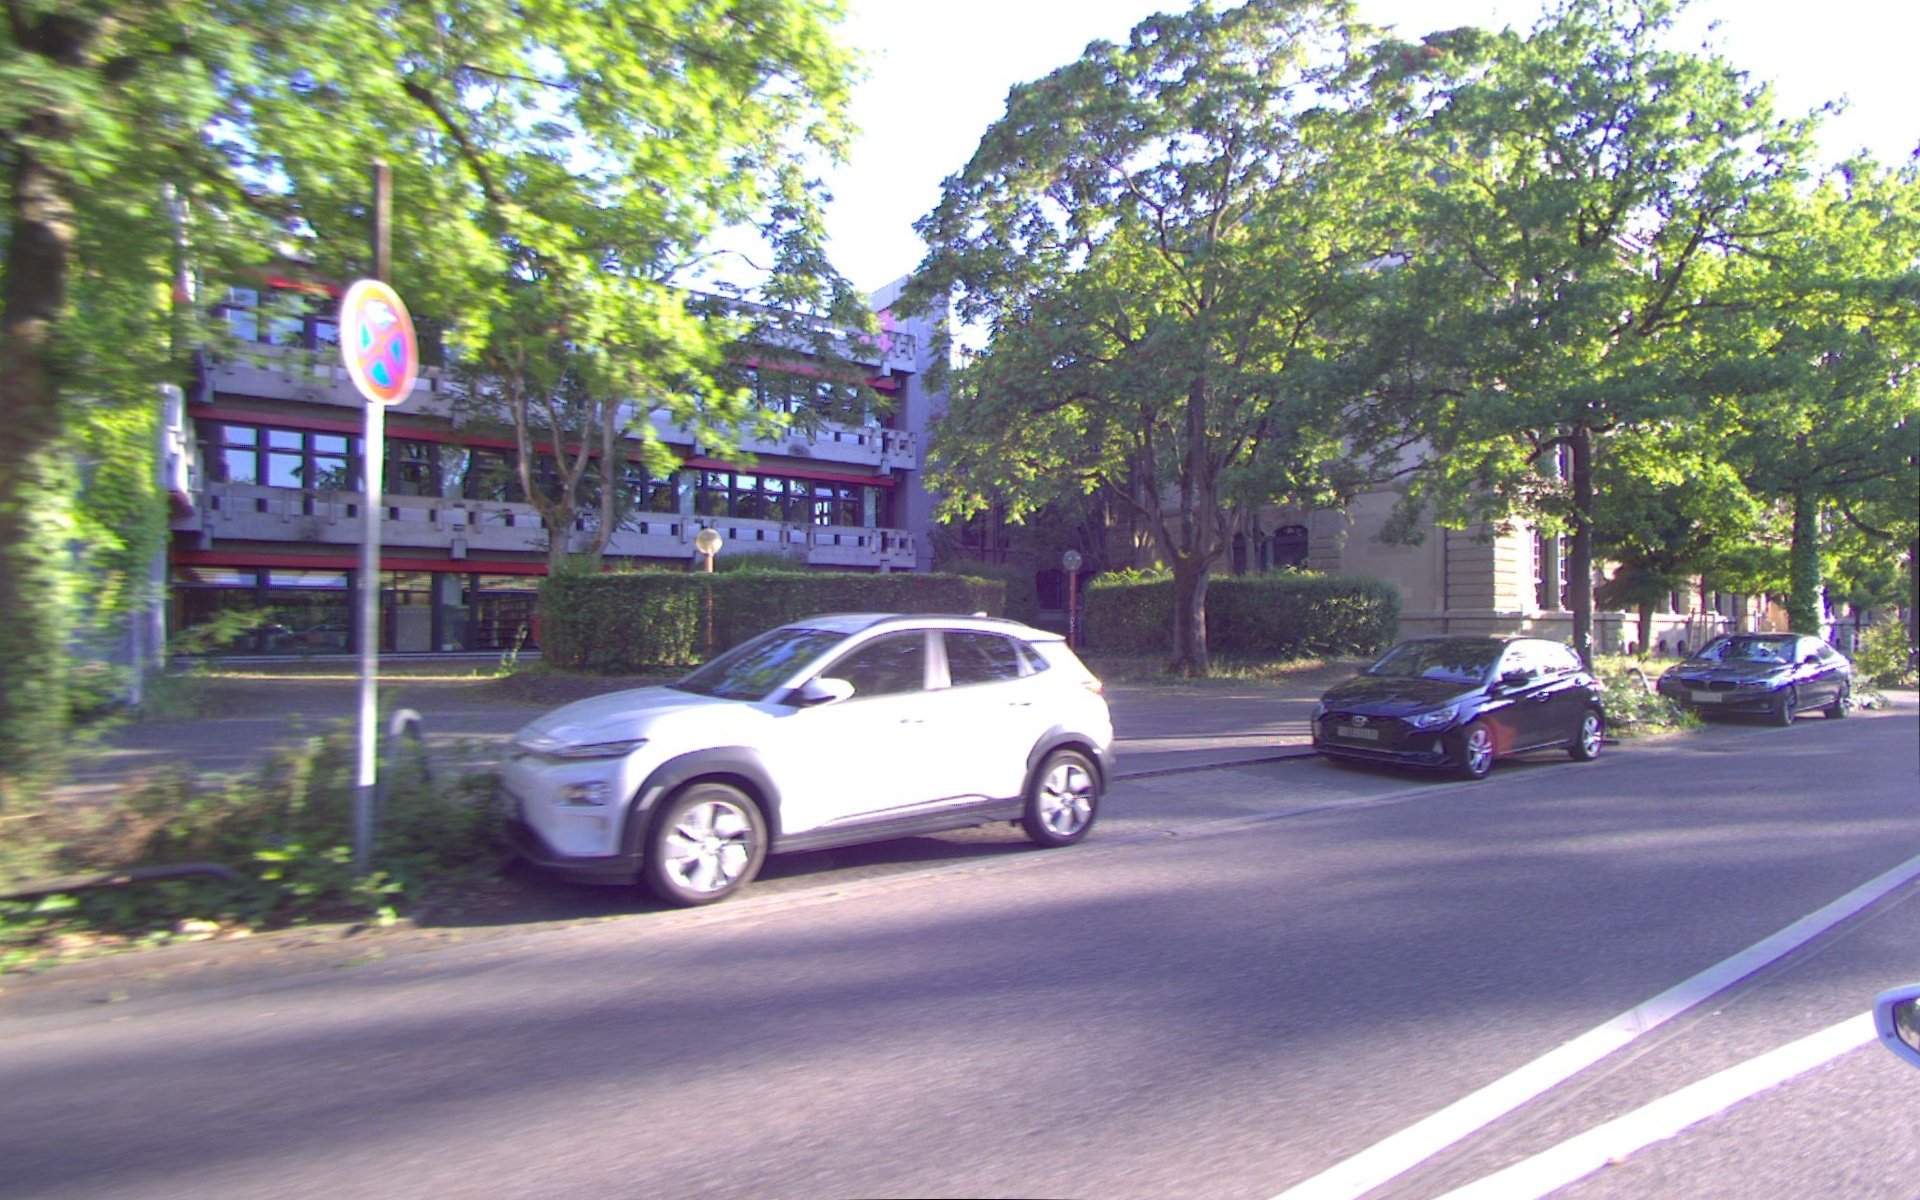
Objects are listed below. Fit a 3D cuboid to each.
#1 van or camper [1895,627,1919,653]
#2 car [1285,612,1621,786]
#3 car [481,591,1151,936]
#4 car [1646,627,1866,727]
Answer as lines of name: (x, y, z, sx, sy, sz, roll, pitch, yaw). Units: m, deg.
van or camper: (80.648, 3.290, 82.928, 1.979, 2.013, 4.740, -4, 1, -33)
car: (5.714, 1.001, 11.464, 4.108, 1.637, 1.767, 2, -1, -37)
car: (-0.793, 0.848, 6.744, 4.108, 1.637, 1.791, 2, -2, -37)
car: (14.251, 1.290, 17.887, 4.814, 1.530, 1.790, 2, -1, -35)
